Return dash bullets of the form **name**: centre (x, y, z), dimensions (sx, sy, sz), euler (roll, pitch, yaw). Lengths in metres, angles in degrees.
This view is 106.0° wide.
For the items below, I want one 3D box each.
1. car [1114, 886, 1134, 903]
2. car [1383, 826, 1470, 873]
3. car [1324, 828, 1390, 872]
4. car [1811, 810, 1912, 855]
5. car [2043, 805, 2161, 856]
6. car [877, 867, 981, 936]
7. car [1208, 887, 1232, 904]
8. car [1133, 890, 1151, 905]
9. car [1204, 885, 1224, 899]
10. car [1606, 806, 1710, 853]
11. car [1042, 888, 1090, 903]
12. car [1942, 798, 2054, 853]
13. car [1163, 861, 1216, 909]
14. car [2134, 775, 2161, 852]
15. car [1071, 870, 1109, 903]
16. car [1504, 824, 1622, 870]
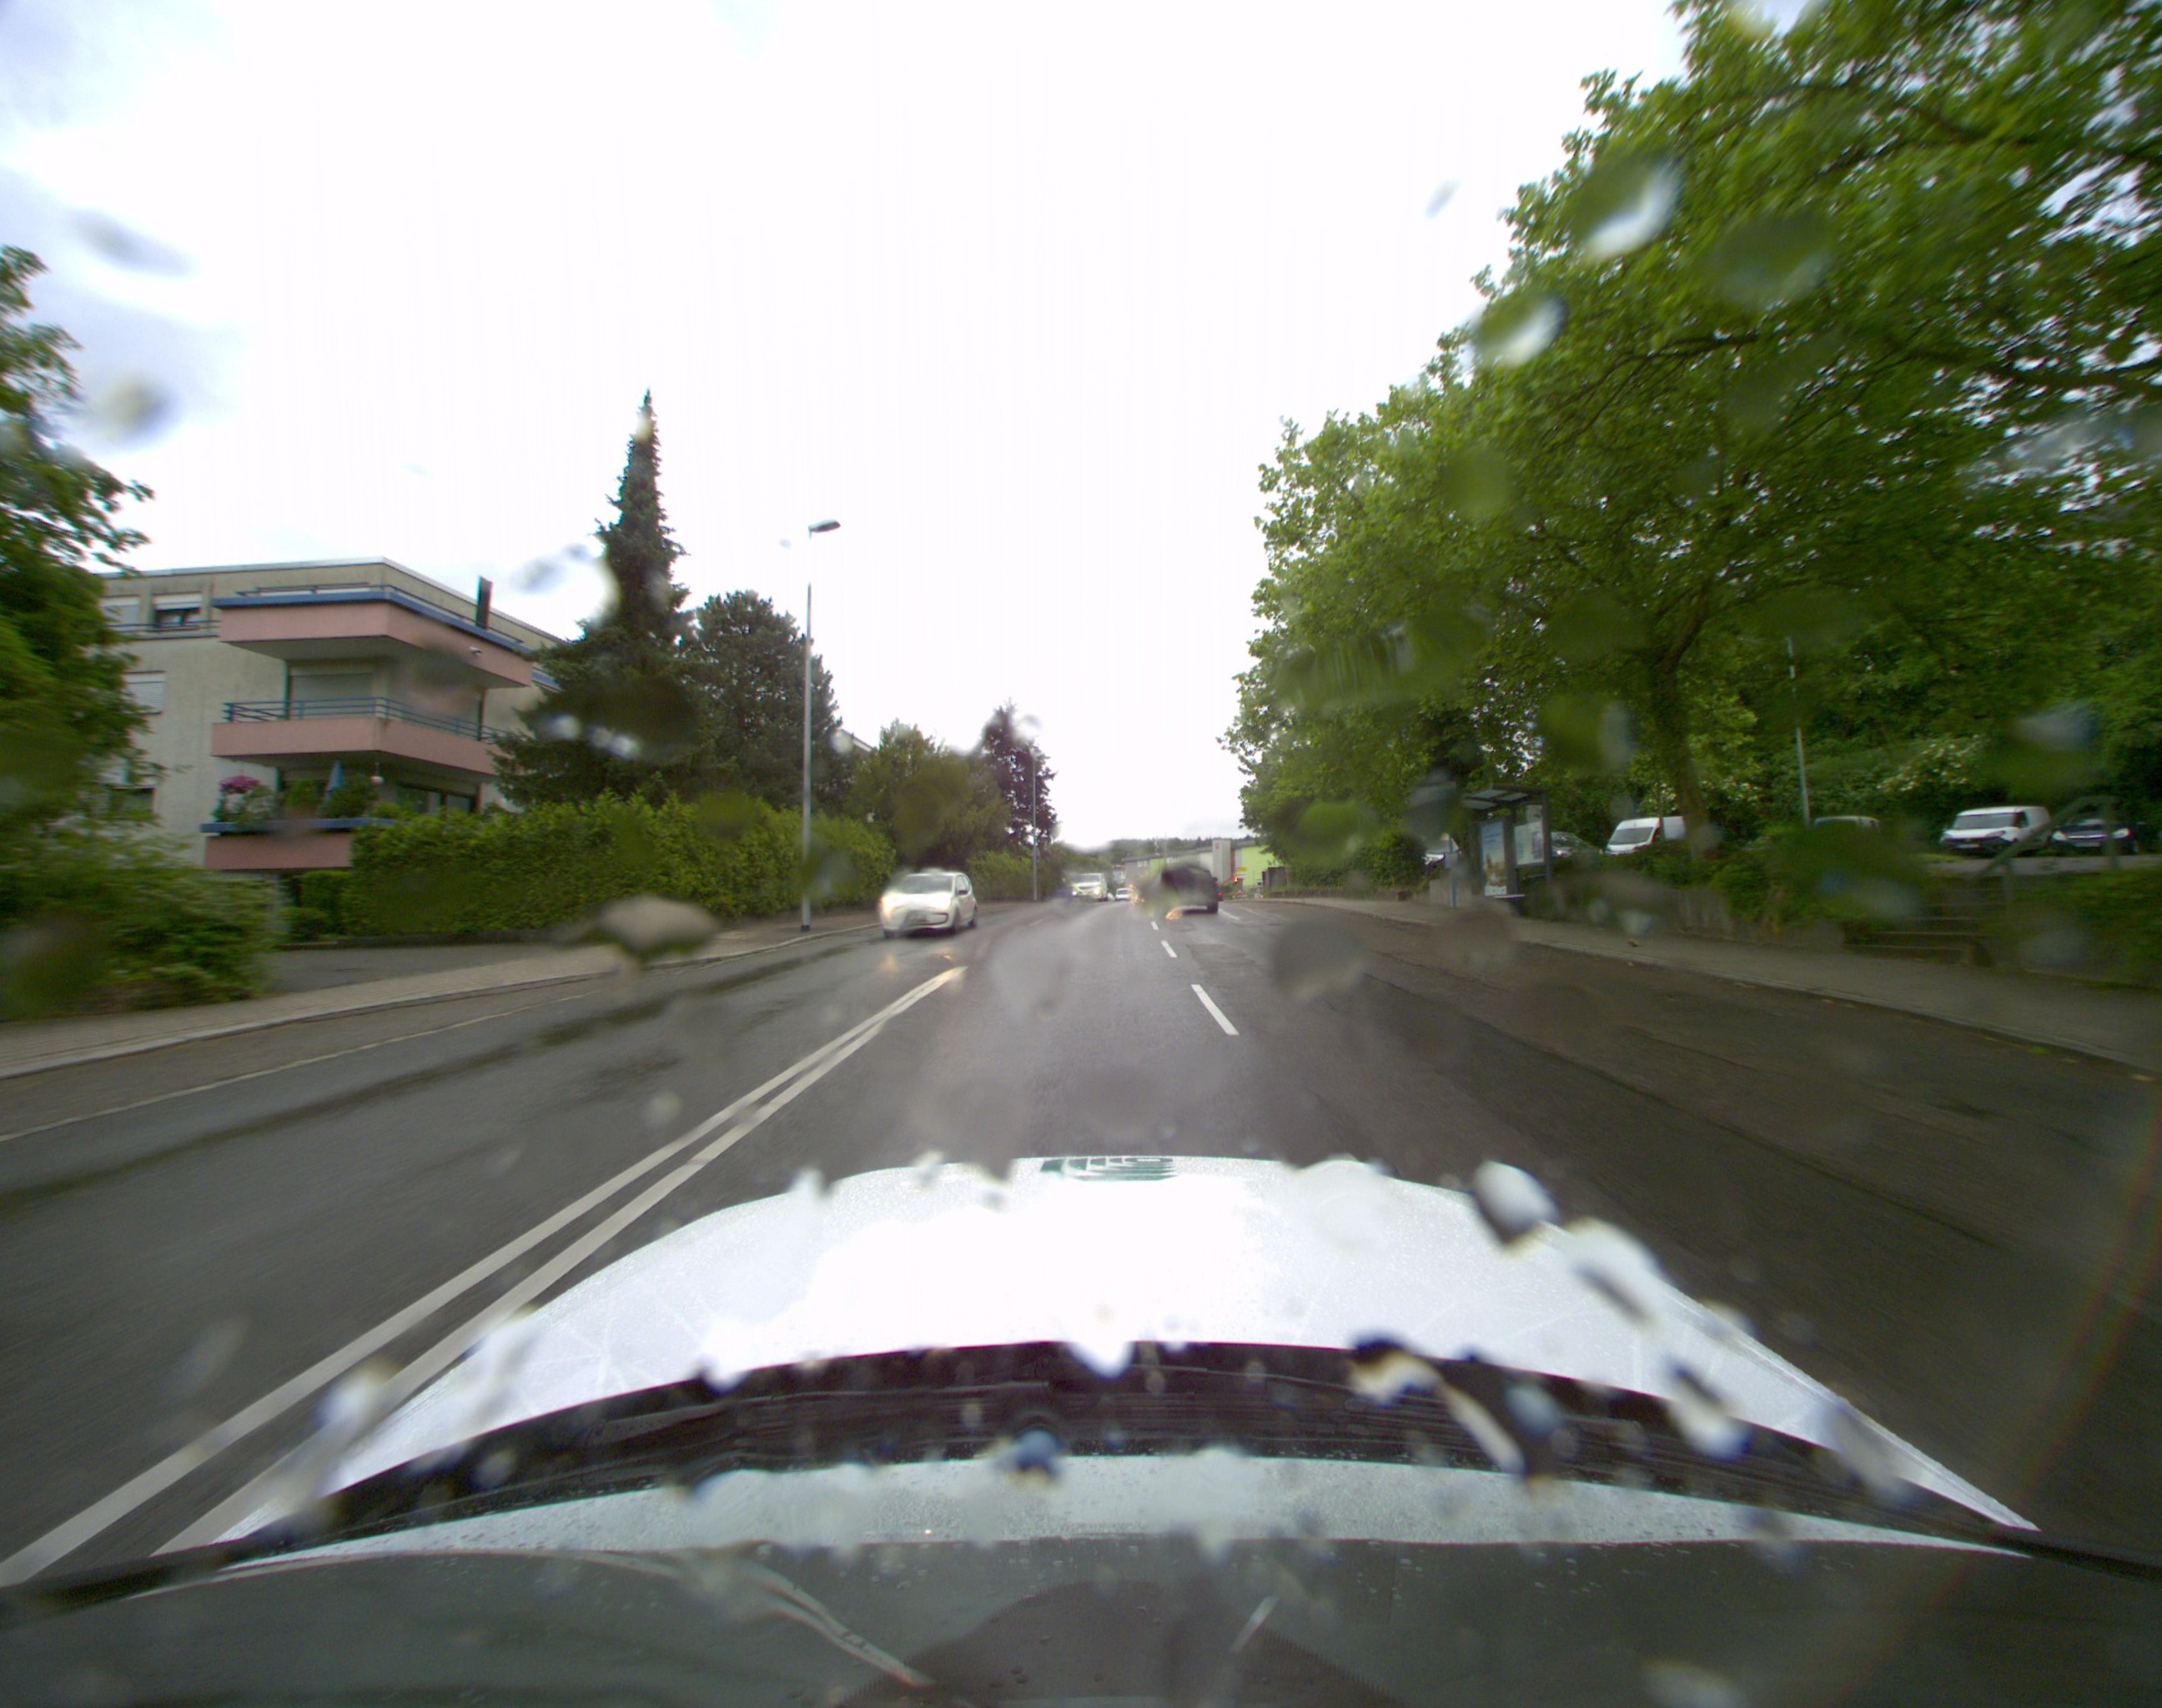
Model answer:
- **car**: centre (4.406, 4.156, 83.394), dimensions (1.691, 1.708, 3.985), euler (2, -3, 7)
- **car**: centre (17.640, -0.216, 41.862), dimensions (2.041, 2.284, 5.010), euler (0, 0, -5)
- **car**: centre (14.524, -0.223, 43.118), dimensions (1.988, 2.226, 4.131), euler (0, 0, -2)
- **car**: centre (31.306, -0.838, 32.650), dimensions (4.191, 1.665, 1.787), euler (1, 0, -29)
- **car**: centre (33.275, -0.722, 26.498), dimensions (4.191, 1.477, 1.787), euler (1, 0, -29)
- **car**: centre (-3.508, 1.058, 19.393), dimensions (1.678, 1.454, 3.400), euler (-1, -1, 2)
- **car**: centre (12.037, 3.568, 70.515), dimensions (1.981, 1.442, 4.011), euler (0, -2, 11)
- **car**: centre (7.150, 5.094, 95.077), dimensions (1.625, 1.580, 4.065), euler (-5, -4, 8)
- **car**: centre (14.278, 4.031, 87.542), dimensions (1.981, 1.442, 4.011), euler (0, -2, 11)
- **car**: centre (27.573, -1.119, 38.859), dimensions (5.218, 2.013, 1.980), euler (1, 0, -29)
- **car**: centre (-1.386, 3.970, 77.909), dimensions (4.462, 1.362, 1.807), euler (0, -2, 4)
- **car**: centre (32.746, -0.977, 29.057), dimensions (4.191, 1.769, 1.787), euler (1, 0, -29)
- **car**: centre (3.992, 1.059, 29.959), dimensions (1.780, 1.603, 4.262), euler (0, 0, 8)
- **car**: centre (21.453, -0.747, 13.790), dimensions (1.888, 1.453, 4.171), euler (1, 0, 0)
- **car**: centre (0.646, 2.077, 52.756), dimensions (1.854, 1.917, 5.038), euler (-3, -2, 7)
- **car**: centre (17.633, -0.224, 30.020), dimensions (1.815, 1.583, 4.169), euler (0, 0, -2)
